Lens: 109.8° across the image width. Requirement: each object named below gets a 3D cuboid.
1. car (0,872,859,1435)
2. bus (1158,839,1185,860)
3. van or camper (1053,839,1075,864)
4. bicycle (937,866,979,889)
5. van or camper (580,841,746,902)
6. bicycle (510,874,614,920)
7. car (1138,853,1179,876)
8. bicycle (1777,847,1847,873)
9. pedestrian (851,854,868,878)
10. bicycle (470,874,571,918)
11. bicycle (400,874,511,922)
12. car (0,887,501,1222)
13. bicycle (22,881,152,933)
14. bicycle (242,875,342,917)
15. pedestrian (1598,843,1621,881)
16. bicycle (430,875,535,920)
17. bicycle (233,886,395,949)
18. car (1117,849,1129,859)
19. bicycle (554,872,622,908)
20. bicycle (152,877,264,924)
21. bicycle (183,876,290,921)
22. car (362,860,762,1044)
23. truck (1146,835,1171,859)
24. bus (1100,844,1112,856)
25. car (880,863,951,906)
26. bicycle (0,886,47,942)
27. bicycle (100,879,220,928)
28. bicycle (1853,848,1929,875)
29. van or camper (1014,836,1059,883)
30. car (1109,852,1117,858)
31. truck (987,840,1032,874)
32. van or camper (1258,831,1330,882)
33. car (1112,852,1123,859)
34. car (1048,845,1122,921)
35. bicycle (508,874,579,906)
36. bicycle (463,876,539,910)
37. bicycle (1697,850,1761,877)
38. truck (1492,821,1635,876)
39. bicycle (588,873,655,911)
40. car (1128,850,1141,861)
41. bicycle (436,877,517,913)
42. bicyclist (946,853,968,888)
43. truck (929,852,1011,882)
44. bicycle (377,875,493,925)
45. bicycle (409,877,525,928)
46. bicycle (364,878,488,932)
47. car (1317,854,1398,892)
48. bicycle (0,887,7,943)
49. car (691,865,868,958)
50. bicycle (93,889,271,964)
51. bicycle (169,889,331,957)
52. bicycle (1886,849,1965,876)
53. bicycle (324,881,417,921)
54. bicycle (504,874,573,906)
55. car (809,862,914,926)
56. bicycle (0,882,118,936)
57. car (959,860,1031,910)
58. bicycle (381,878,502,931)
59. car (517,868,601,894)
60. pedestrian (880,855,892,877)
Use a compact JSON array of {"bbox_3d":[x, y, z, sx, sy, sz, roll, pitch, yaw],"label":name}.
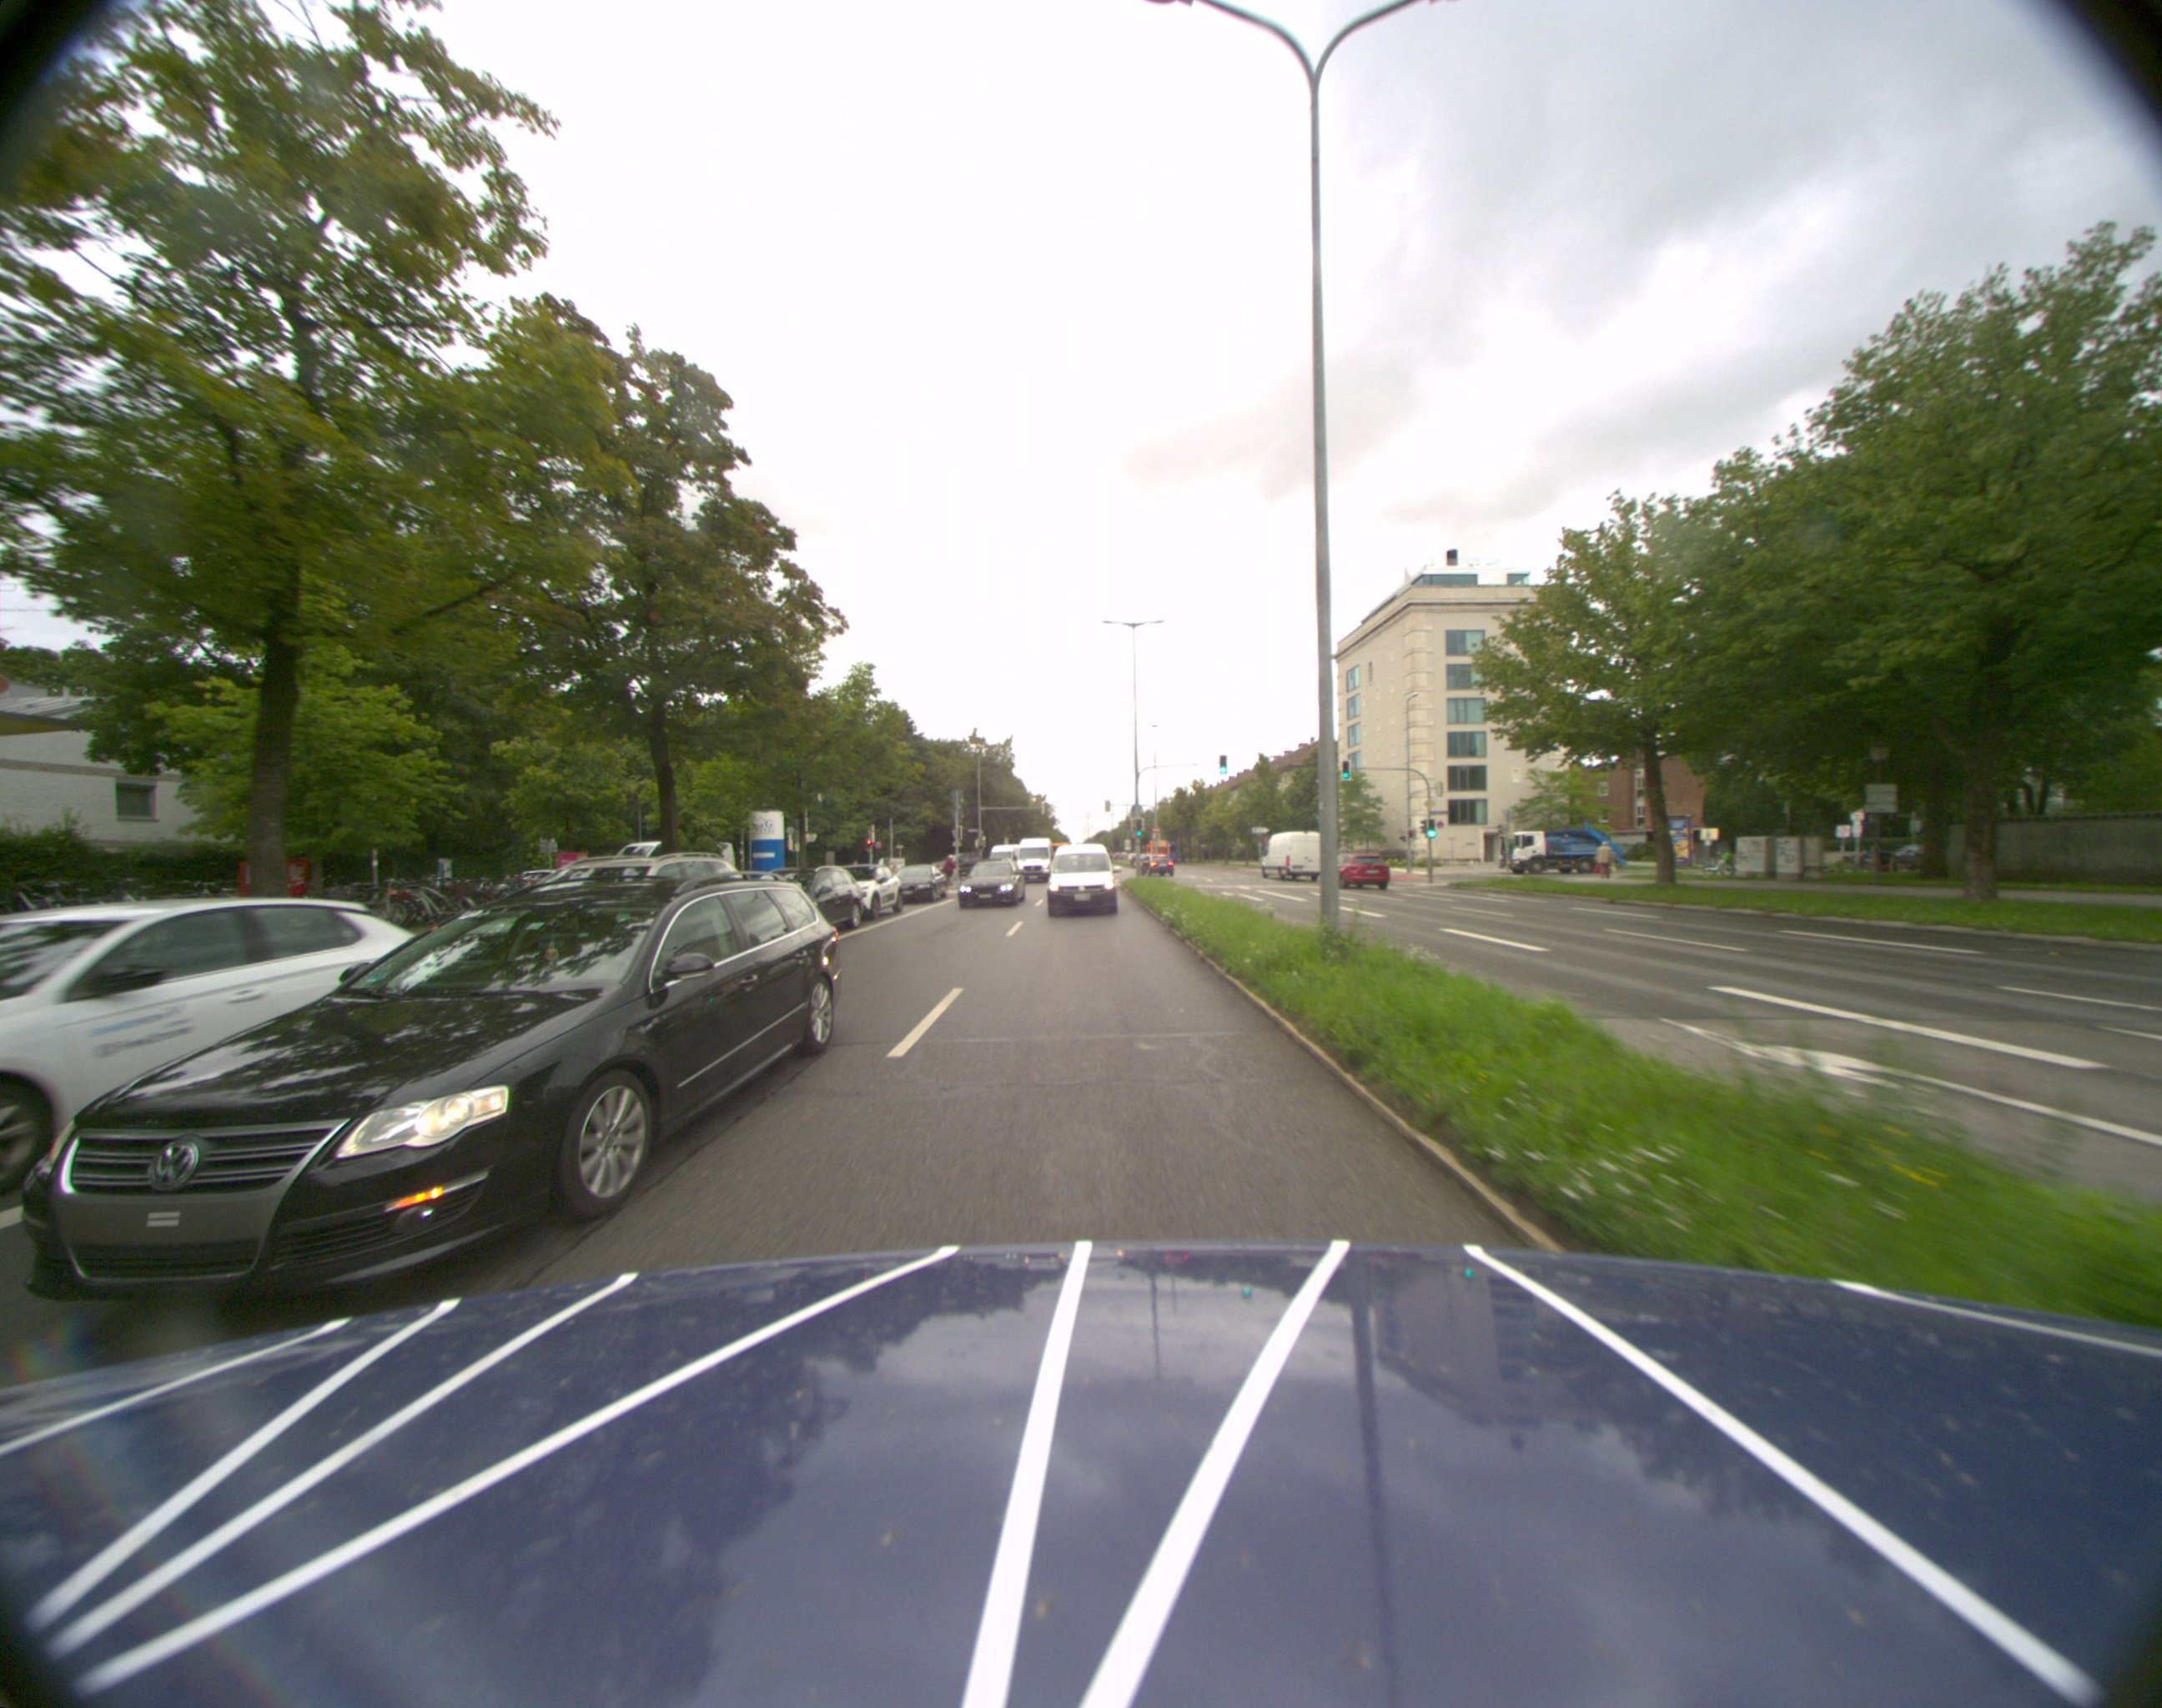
[{"bbox_3d":[-2.873,0.937,4.545,1.752,1.466,4.670,-2,0,-1],"label":"car"},{"bbox_3d":[14.977,-0.756,126.589,2.752,3.324,12.046,0,0,-1],"label":"bus"},{"bbox_3d":[-2.236,-0.363,102.587,2.780,3.219,7.074,-1,0,1],"label":"van or camper"},{"bbox_3d":[-6.198,1.174,38.470,1.951,1.075,0.746,-2,1,-35],"label":"bicycle"},{"bbox_3d":[-17.204,0.639,31.791,2.144,2.283,6.207,-1,0,18],"label":"van or camper"},{"bbox_3d":[-13.724,1.129,20.105,2.344,1.151,0.585,1,1,0],"label":"bicycle"},{"bbox_3d":[5.071,0.662,50.199,1.645,1.478,3.777,-1,0,-11],"label":"car"},{"bbox_3d":[34.037,0.271,35.412,0.837,1.179,2.496,-1,0,-1],"label":"bicycle"},{"bbox_3d":[-14.355,0.765,49.278,0.691,1.529,0.738,-1,1,20],"label":"pedestrian"},{"bbox_3d":[-15.587,1.160,21.155,2.344,1.151,0.585,1,1,0],"label":"bicycle"},{"bbox_3d":[-15.981,1.122,19.431,2.344,1.151,0.585,1,1,0],"label":"bicycle"},{"bbox_3d":[-6.276,1.126,4.797,1.706,1.499,4.503,-3,1,-1],"label":"car"},{"bbox_3d":[-23.181,1.231,17.739,2.344,1.151,0.529,1,1,0],"label":"bicycle"},{"bbox_3d":[-22.875,1.199,22.032,2.344,1.151,0.529,1,1,0],"label":"bicycle"},{"bbox_3d":[24.577,0.364,35.341,0.709,1.730,0.517,-1,1,-4],"label":"pedestrian"},{"bbox_3d":[-16.132,1.169,20.508,2.344,1.151,0.585,1,1,0],"label":"bicycle"},{"bbox_3d":[-14.737,1.222,14.640,2.346,1.151,0.529,1,1,-8],"label":"bicycle"},{"bbox_3d":[7.211,0.014,131.048,1.867,1.533,4.749,3,0,1],"label":"car"},{"bbox_3d":[-15.903,1.158,24.534,1.810,1.136,0.567,0,1,1],"label":"bicycle"},{"bbox_3d":[-22.991,1.213,20.033,2.344,1.151,0.529,1,1,0],"label":"bicycle"},{"bbox_3d":[-23.060,1.213,20.757,2.344,1.151,0.529,1,1,0],"label":"bicycle"},{"bbox_3d":[-6.149,0.989,9.946,1.752,1.714,4.906,-2,0,1],"label":"car"},{"bbox_3d":[11.130,-0.993,109.515,2.787,3.337,7.265,-1,1,0],"label":"truck"},{"bbox_3d":[7.043,-1.085,218.267,2.752,3.324,12.271,0,0,-1],"label":"bus"},{"bbox_3d":[-6.139,1.095,28.707,1.715,1.352,4.620,-2,0,-1],"label":"car"},{"bbox_3d":[-23.508,1.253,16.144,2.344,1.151,0.529,1,1,0],"label":"bicycle"},{"bbox_3d":[-22.974,1.217,18.976,2.344,1.151,0.529,1,1,0],"label":"bicycle"},{"bbox_3d":[37.444,0.335,35.173,0.837,1.179,2.496,-1,0,-1],"label":"bicycle"},{"bbox_3d":[-2.609,0.289,45.979,2.183,2.546,7.074,-1,0,1],"label":"van or camper"},{"bbox_3d":[8.144,0.193,193.274,1.702,1.560,4.290,-1,0,-2],"label":"car"},{"bbox_3d":[-5.762,0.156,62.571,1.997,2.589,7.230,-2,1,8],"label":"truck"},{"bbox_3d":[11.839,0.106,42.810,2.183,2.631,6.951,1,0,1],"label":"van or camper"},{"bbox_3d":[7.426,0.310,155.239,1.931,1.453,4.897,1,0,-1],"label":"car"},{"bbox_3d":[0.056,0.686,20.671,1.752,1.809,4.670,-1,0,-1],"label":"car"},{"bbox_3d":[-21.194,1.399,30.005,0.716,1.147,2.133,-1,1,41],"label":"bicycle"},{"bbox_3d":[-21.577,1.423,28.307,0.716,1.147,2.133,-1,1,41],"label":"bicycle"},{"bbox_3d":[30.015,0.406,35.260,0.837,1.179,2.496,-1,0,-1],"label":"bicycle"},{"bbox_3d":[32.558,-0.372,51.479,7.817,3.468,2.772,-1,1,1],"label":"truck"},{"bbox_3d":[-14.368,1.185,23.793,1.810,1.136,0.567,0,1,6],"label":"bicycle"},{"bbox_3d":[8.153,0.205,116.251,1.732,1.478,4.742,-1,0,0],"label":"car"},{"bbox_3d":[-21.317,1.418,26.834,2.133,1.147,0.716,-2,1,-45],"label":"bicycle"},{"bbox_3d":[-6.275,0.830,38.421,0.829,1.754,0.744,-2,1,-35],"label":"bicyclist"},{"bbox_3d":[-8.004,0.901,55.227,2.100,2.002,5.824,-1,1,43],"label":"truck"},{"bbox_3d":[-15.981,1.125,18.822,2.344,1.151,0.585,1,1,0],"label":"bicycle"},{"bbox_3d":[-14.720,1.151,18.236,2.344,1.151,0.529,1,1,0],"label":"bicycle"},{"bbox_3d":[-14.753,1.142,17.135,2.344,1.151,0.529,1,1,0],"label":"bicycle"},{"bbox_3d":[11.564,0.738,32.100,1.747,1.443,4.657,1,0,0],"label":"car"},{"bbox_3d":[-23.460,1.235,15.508,2.344,1.151,0.529,1,1,0],"label":"bicycle"},{"bbox_3d":[-6.002,1.048,15.811,1.752,1.538,4.642,-2,0,0],"label":"car"},{"bbox_3d":[-14.998,1.198,12.706,2.344,1.151,0.529,1,1,0],"label":"bicycle"},{"bbox_3d":[-14.983,1.237,13.729,2.344,1.151,0.529,1,1,0],"label":"bicycle"},{"bbox_3d":[38.627,0.349,34.823,0.837,1.179,2.496,-1,0,-1],"label":"bicycle"},{"bbox_3d":[-23.026,1.500,24.677,2.133,1.147,0.716,-2,1,-43],"label":"bicycle"},{"bbox_3d":[-21.782,1.422,30.554,0.716,1.147,2.133,-1,1,41],"label":"bicycle"},{"bbox_3d":[-6.103,1.044,21.667,1.717,1.538,4.381,-1,0,-1],"label":"car"},{"bbox_3d":[-23.251,1.237,17.146,2.344,1.151,0.529,1,1,0],"label":"bicycle"},{"bbox_3d":[-2.779,0.964,25.520,1.819,1.421,4.671,-1,0,1],"label":"car"},{"bbox_3d":[-14.868,1.175,17.686,2.344,1.151,0.529,1,1,0],"label":"bicycle"},{"bbox_3d":[-32.086,1.641,46.740,3.947,1.445,1.627,-1,1,-2],"label":"car"},{"bbox_3d":[-15.070,0.932,58.713,0.762,1.693,0.938,-1,1,-9],"label":"pedestrian"}]
